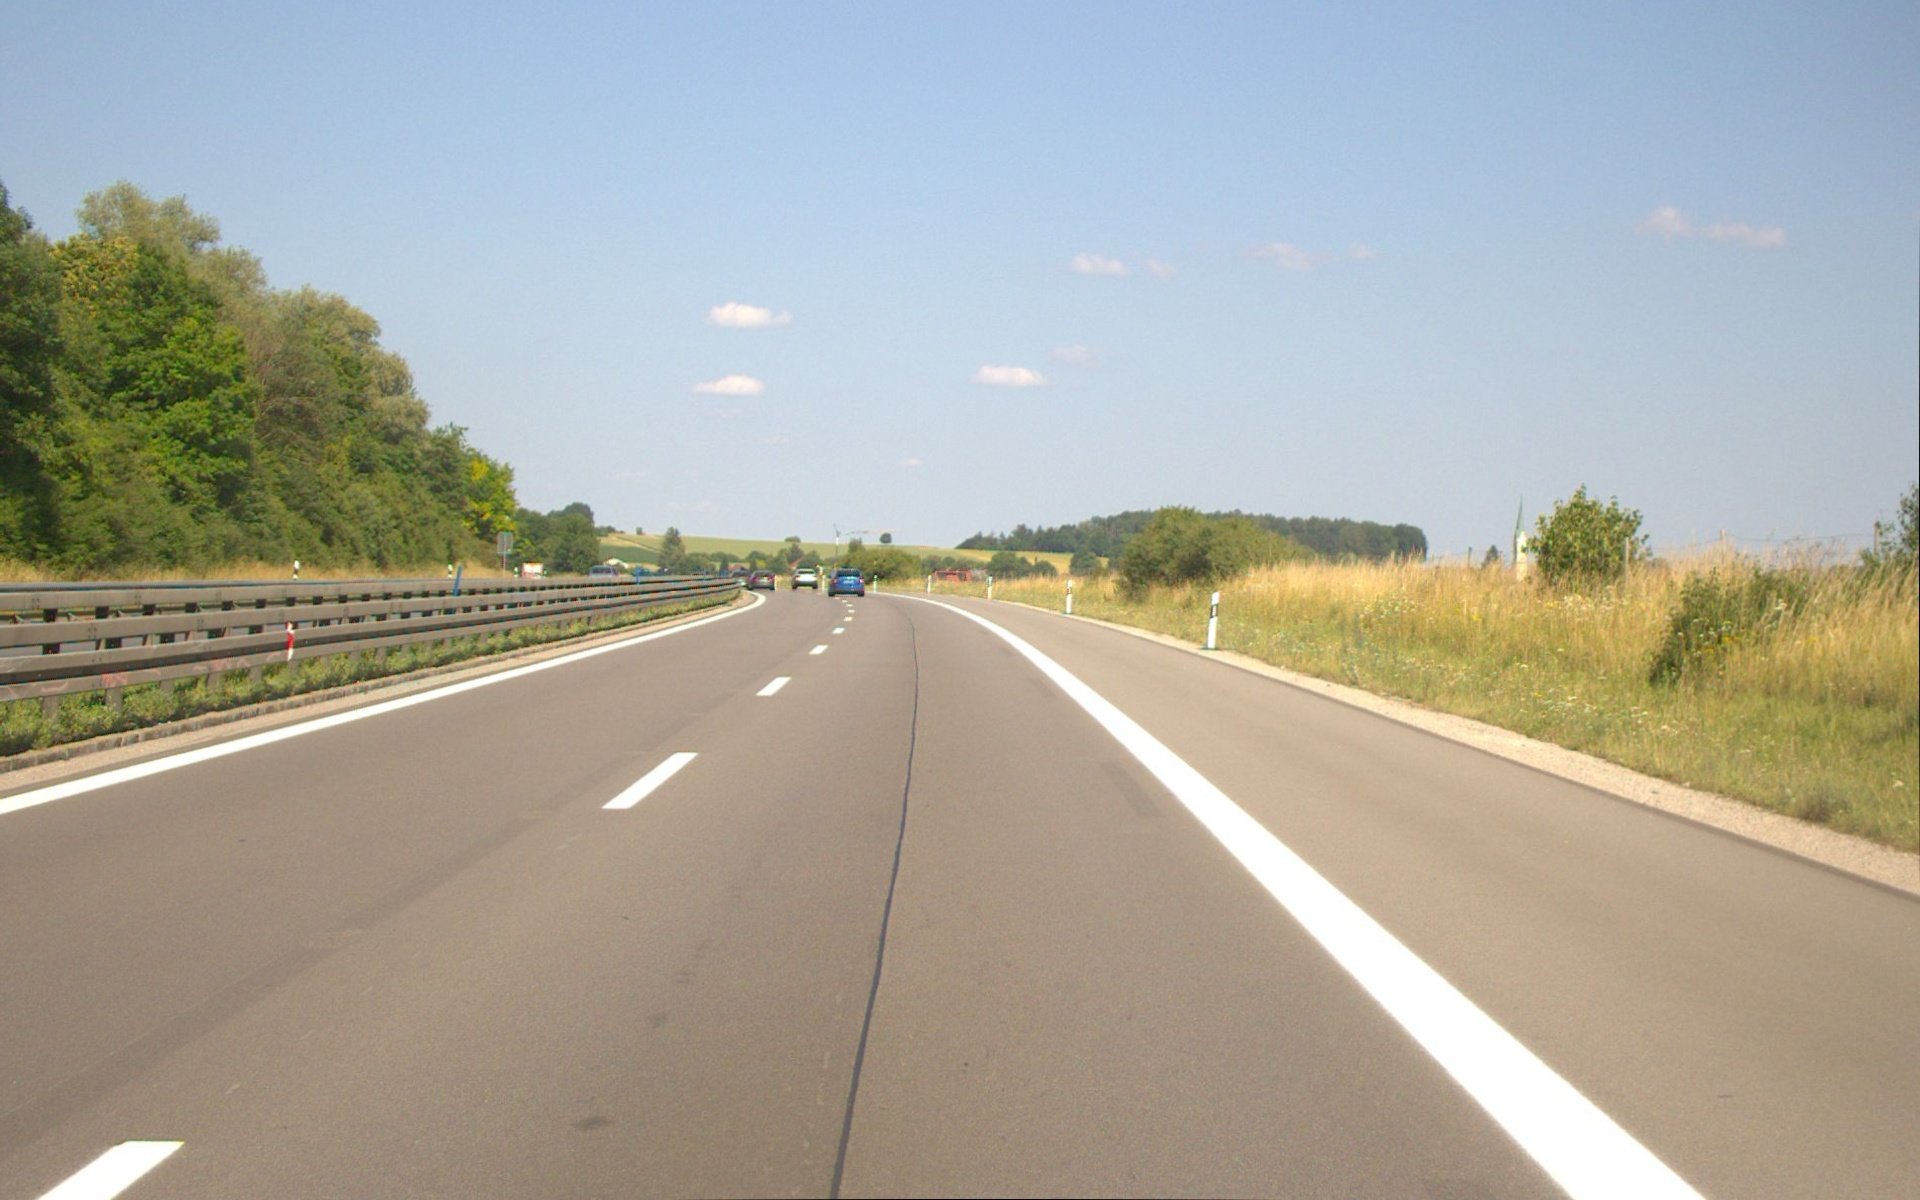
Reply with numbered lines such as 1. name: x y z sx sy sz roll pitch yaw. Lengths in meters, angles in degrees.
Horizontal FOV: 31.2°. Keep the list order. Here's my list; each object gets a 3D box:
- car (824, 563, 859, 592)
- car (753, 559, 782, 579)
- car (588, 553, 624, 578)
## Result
1. car: -6.073 -1.173 176.958 1.676 1.448 3.592 1 0 0
2. car: -14.007 -2.270 250.465 1.829 1.448 3.592 1 0 1
3. car: -23.533 -2.296 228.566 1.993 1.607 4.637 1 1 -1
